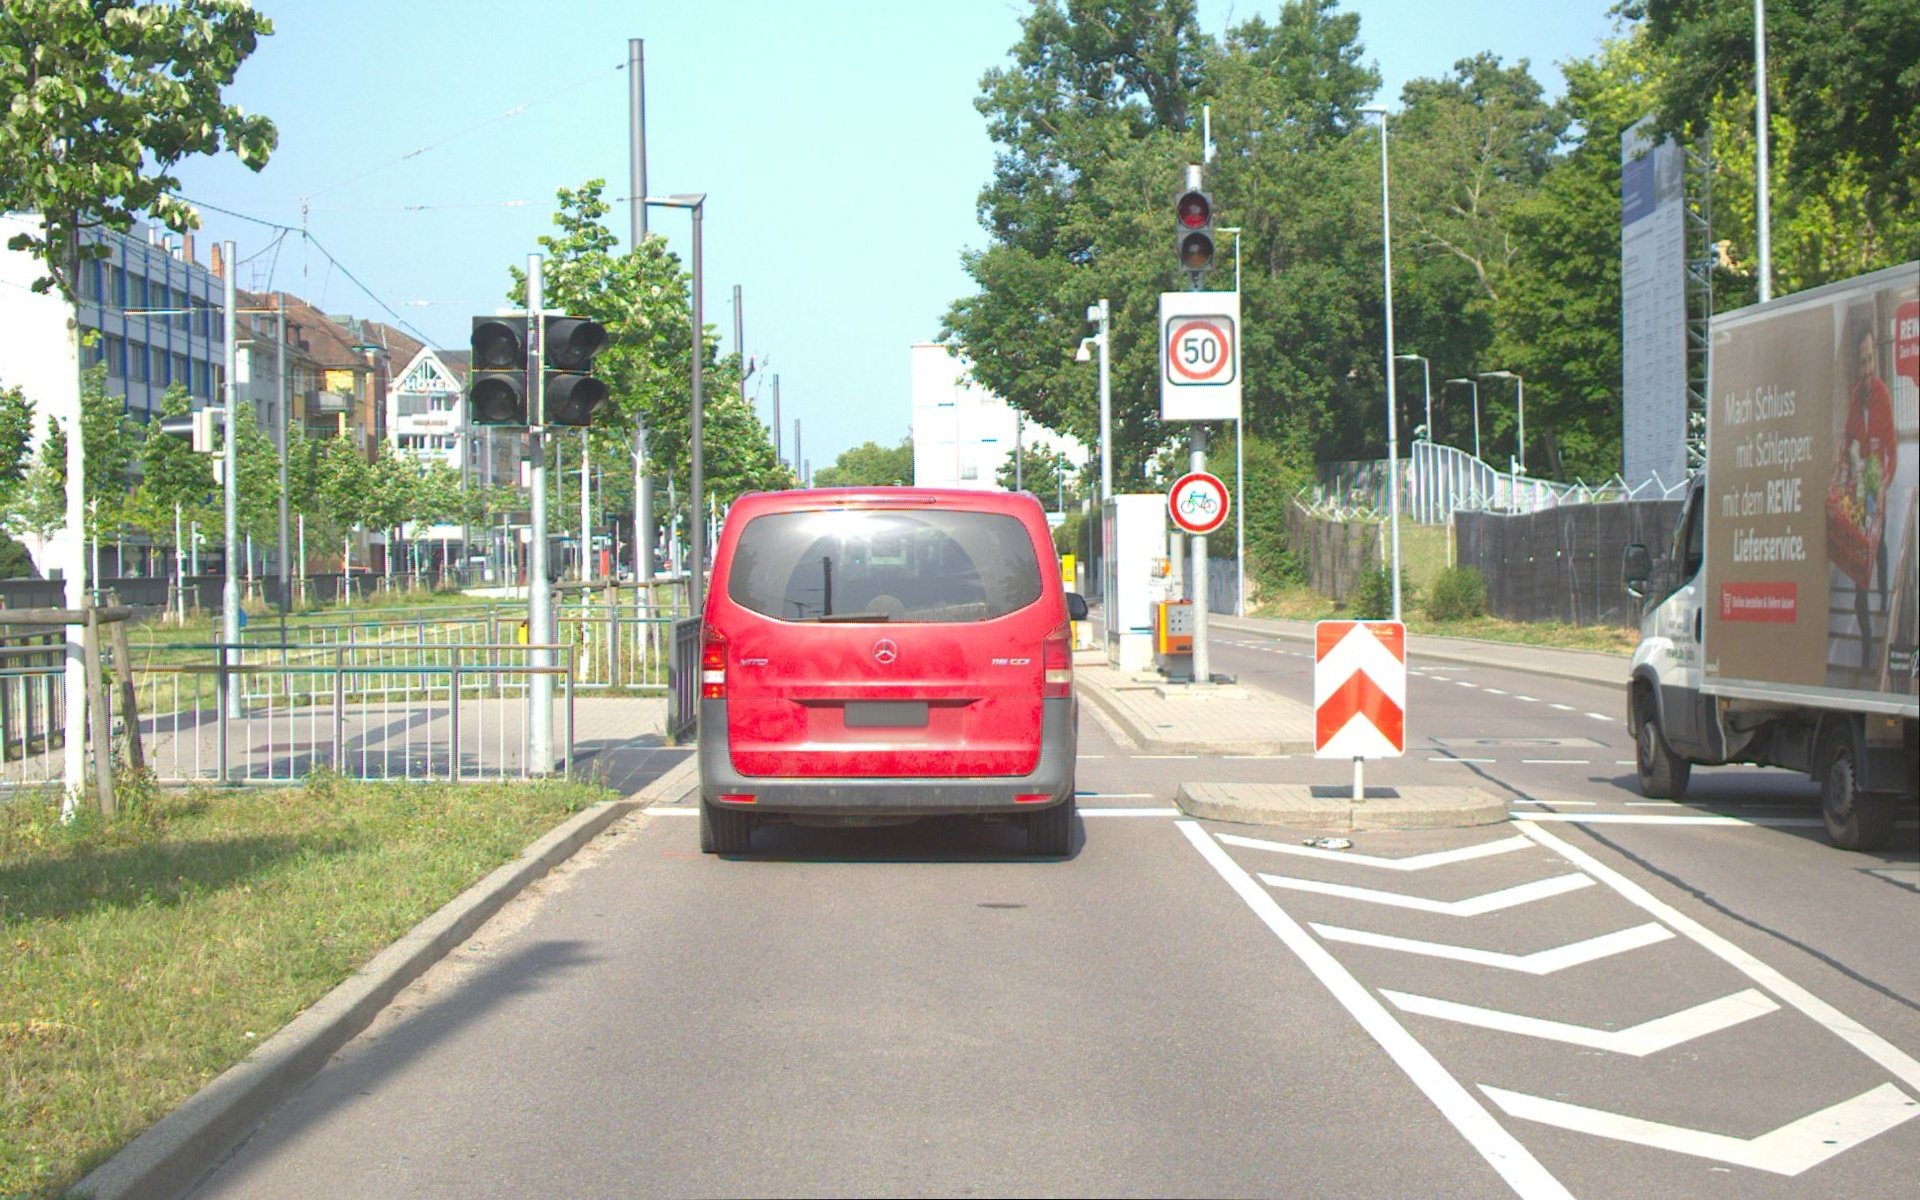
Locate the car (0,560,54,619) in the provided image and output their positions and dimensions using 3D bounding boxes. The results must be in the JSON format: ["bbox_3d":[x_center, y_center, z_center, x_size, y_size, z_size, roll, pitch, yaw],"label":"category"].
[{"bbox_3d":[-30.449,-0.352,109.956,1.917,1.807,4.000,1,0,-1],"label":"car"}]

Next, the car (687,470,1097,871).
[{"bbox_3d":[-0.333,0.311,18.225,1.901,1.853,4.000,1,1,0],"label":"car"}]

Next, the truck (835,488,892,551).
[{"bbox_3d":[-5.976,-4.892,211.562,3.390,3.713,10.452,-1,1,-2],"label":"truck"}]

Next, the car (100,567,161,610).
[{"bbox_3d":[-30.887,-0.453,128.085,1.518,1.459,3.825,-1,2,-3],"label":"car"}]

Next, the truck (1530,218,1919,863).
[{"bbox_3d":[5.519,-0.279,20.111,2.502,3.050,7.821,1,0,-4],"label":"truck"}]
